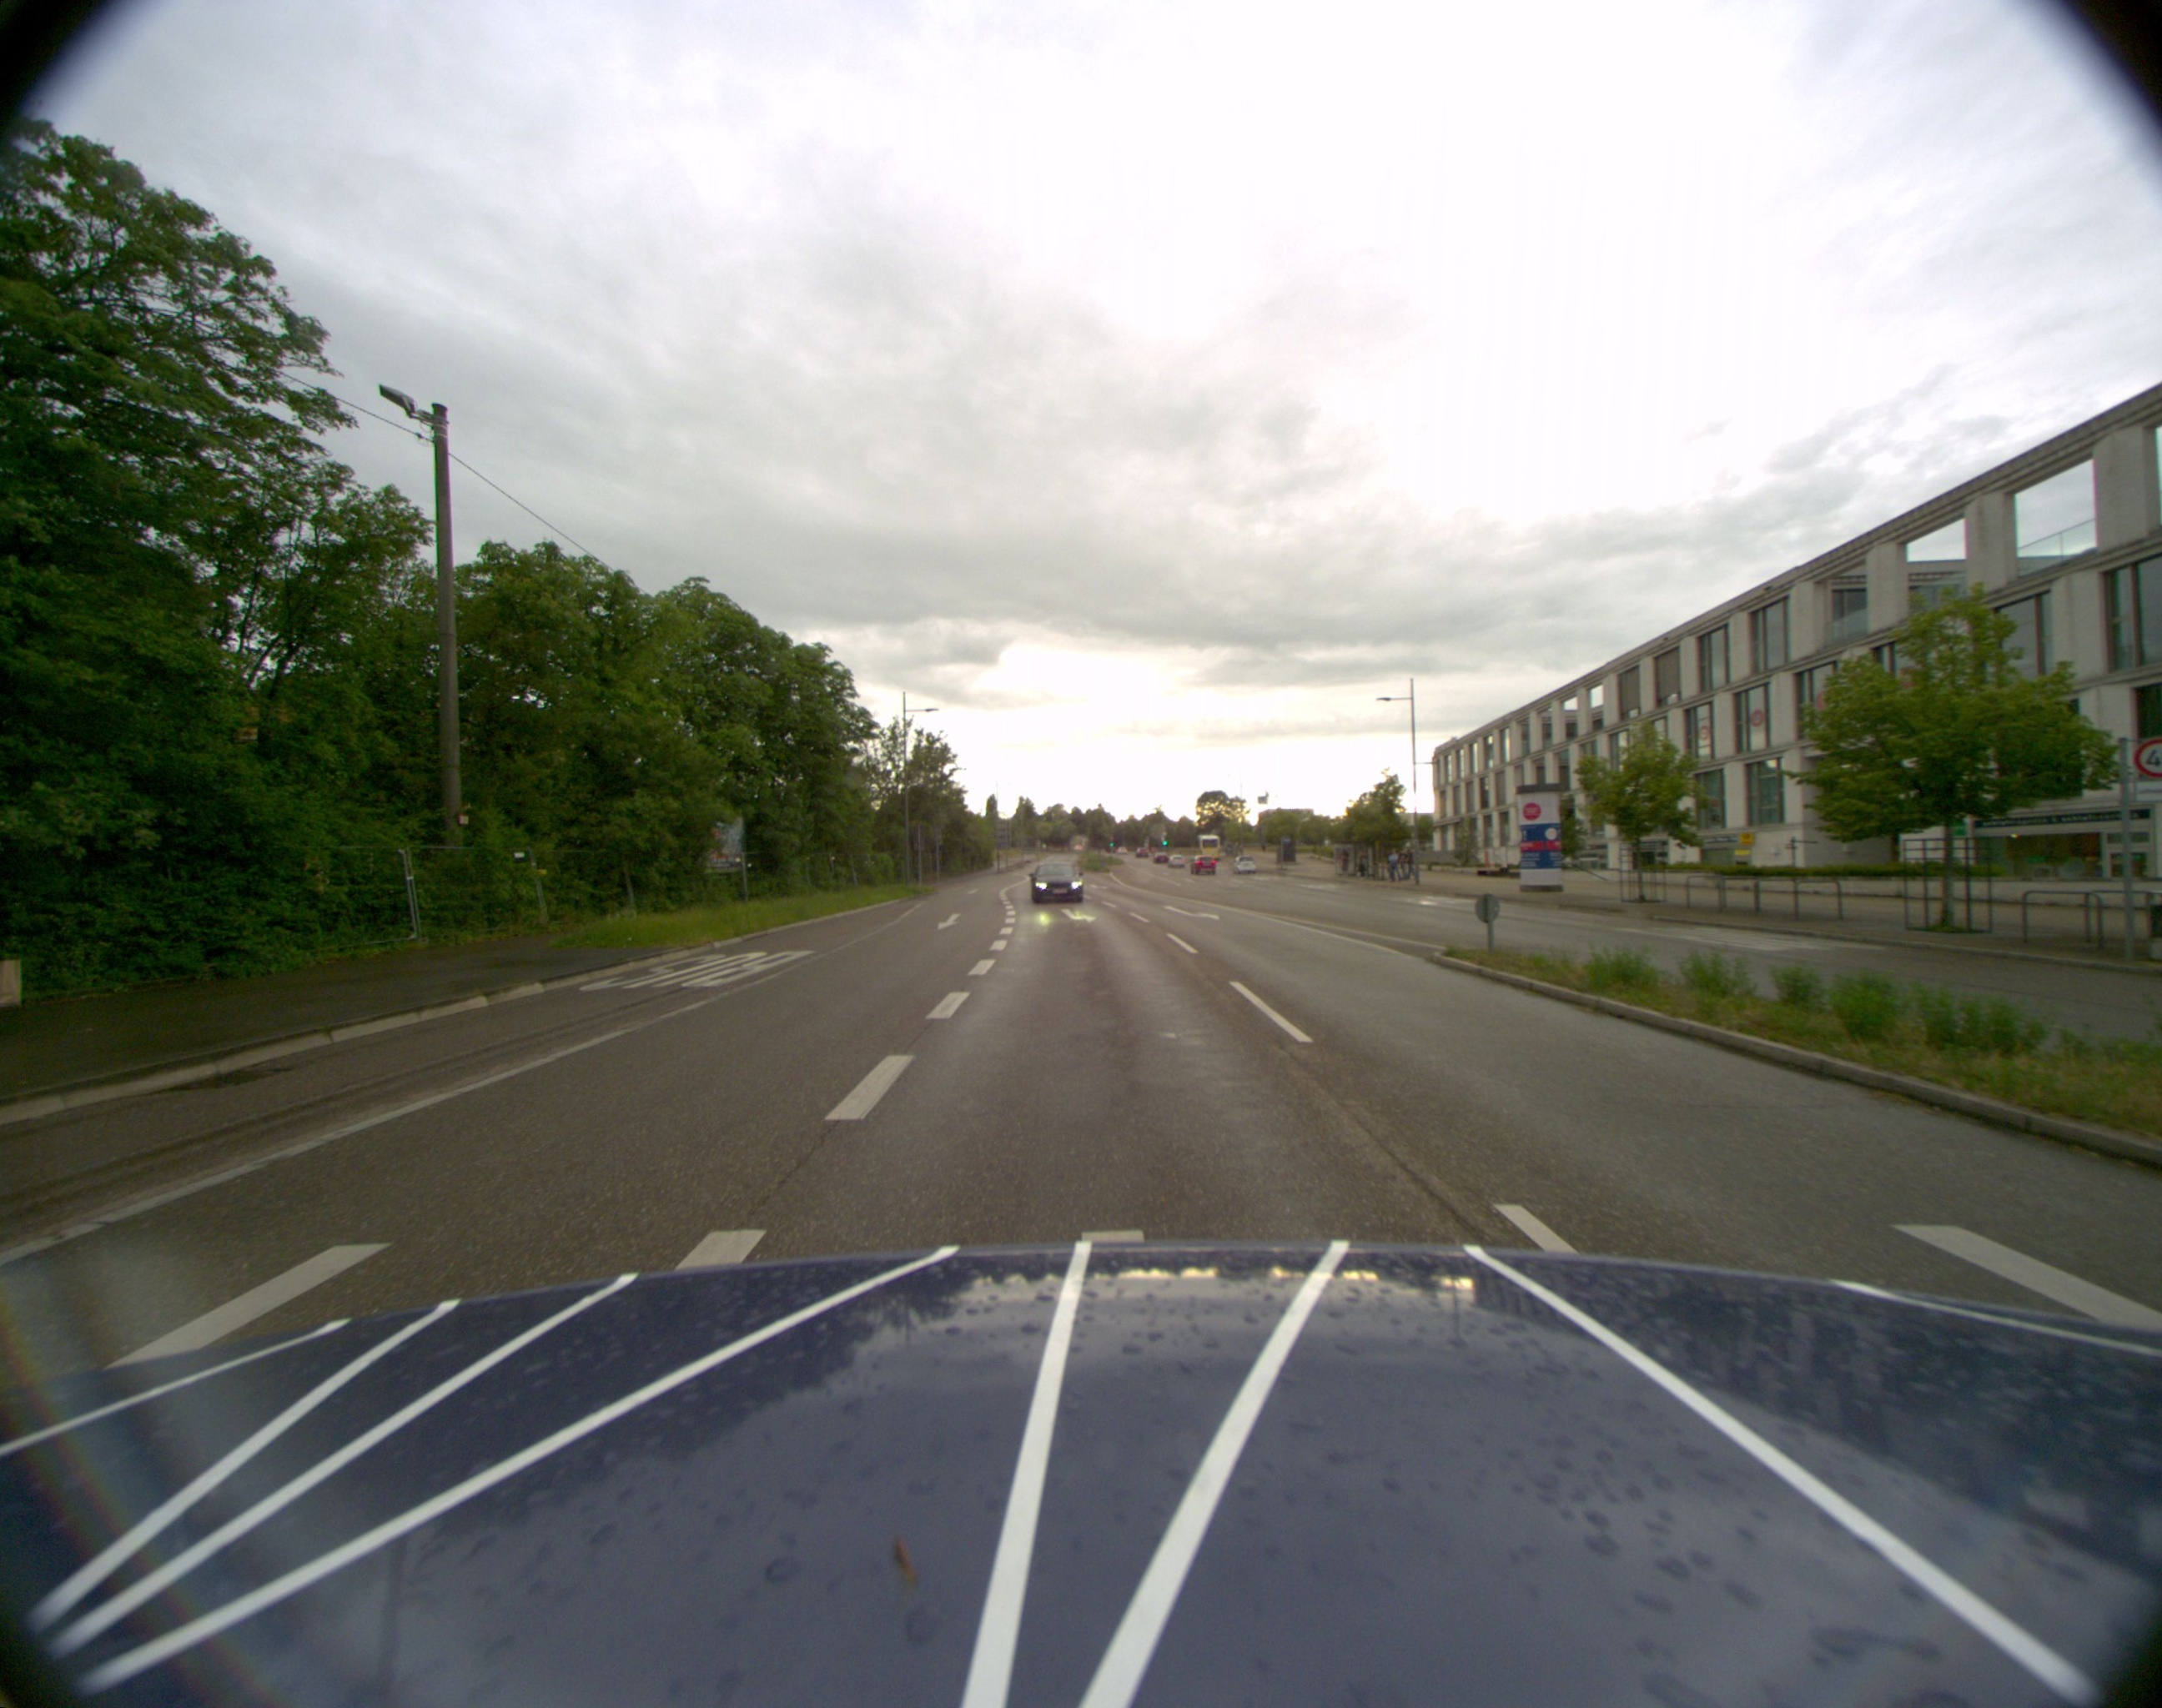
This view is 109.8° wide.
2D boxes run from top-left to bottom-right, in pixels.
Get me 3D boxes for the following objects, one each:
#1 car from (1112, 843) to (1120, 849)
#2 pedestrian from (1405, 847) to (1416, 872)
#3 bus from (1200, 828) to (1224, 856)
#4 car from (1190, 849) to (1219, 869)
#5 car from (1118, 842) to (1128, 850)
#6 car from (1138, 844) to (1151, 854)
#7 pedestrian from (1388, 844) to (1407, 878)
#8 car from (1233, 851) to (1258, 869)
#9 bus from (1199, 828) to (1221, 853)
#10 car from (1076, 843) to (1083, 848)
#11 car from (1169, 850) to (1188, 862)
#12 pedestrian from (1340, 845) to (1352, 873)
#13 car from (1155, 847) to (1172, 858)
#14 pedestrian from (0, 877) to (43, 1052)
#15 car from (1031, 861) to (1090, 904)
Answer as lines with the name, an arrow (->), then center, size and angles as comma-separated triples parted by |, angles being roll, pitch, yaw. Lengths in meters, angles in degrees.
car -> 8.138, -1.918, 177.109 | 1.851, 1.454, 3.866 | 0, 1, 1
pedestrian -> 19.527, 0.325, 45.066 | 0.427, 1.443, 0.510 | -1, 1, 1
bus -> 18.155, -1.737, 105.894 | 2.827, 3.453, 8.232 | -3, 2, 8
car -> 11.085, 0.449, 68.719 | 1.858, 1.673, 4.737 | 1, 0, 1
car -> 8.862, -1.688, 160.477 | 1.878, 1.422, 4.175 | 1, 1, 0
car -> 10.724, -0.873, 129.050 | 1.836, 1.563, 4.592 | 1, 1, 1
pedestrian -> 17.418, 0.371, 41.815 | 0.755, 1.832, 0.746 | -1, 1, 3
car -> 14.804, 0.511, 68.409 | 1.617, 1.499, 2.972 | -3, 1, 1
bus -> 19.394, -2.122, 114.943 | 2.827, 3.453, 9.976 | -3, 2, 8
car -> -0.449, -2.422, 218.843 | 1.998, 1.410, 4.512 | -2, 1, 1
car -> 11.369, 0.218, 88.726 | 1.767, 1.408, 3.878 | 1, 0, 0
pedestrian -> 17.447, 0.350, 50.108 | 0.508, 1.832, 0.755 | -1, 1, 0
car -> 11.260, -0.201, 103.604 | 1.836, 1.408, 4.465 | 1, 0, 1
pedestrian -> -10.525, 1.051, 7.040 | 0.677, 1.648, 0.792 | -1, 1, -5
car -> -0.844, 1.011, 28.597 | 1.990, 1.391, 4.175 | -2, 0, -4
